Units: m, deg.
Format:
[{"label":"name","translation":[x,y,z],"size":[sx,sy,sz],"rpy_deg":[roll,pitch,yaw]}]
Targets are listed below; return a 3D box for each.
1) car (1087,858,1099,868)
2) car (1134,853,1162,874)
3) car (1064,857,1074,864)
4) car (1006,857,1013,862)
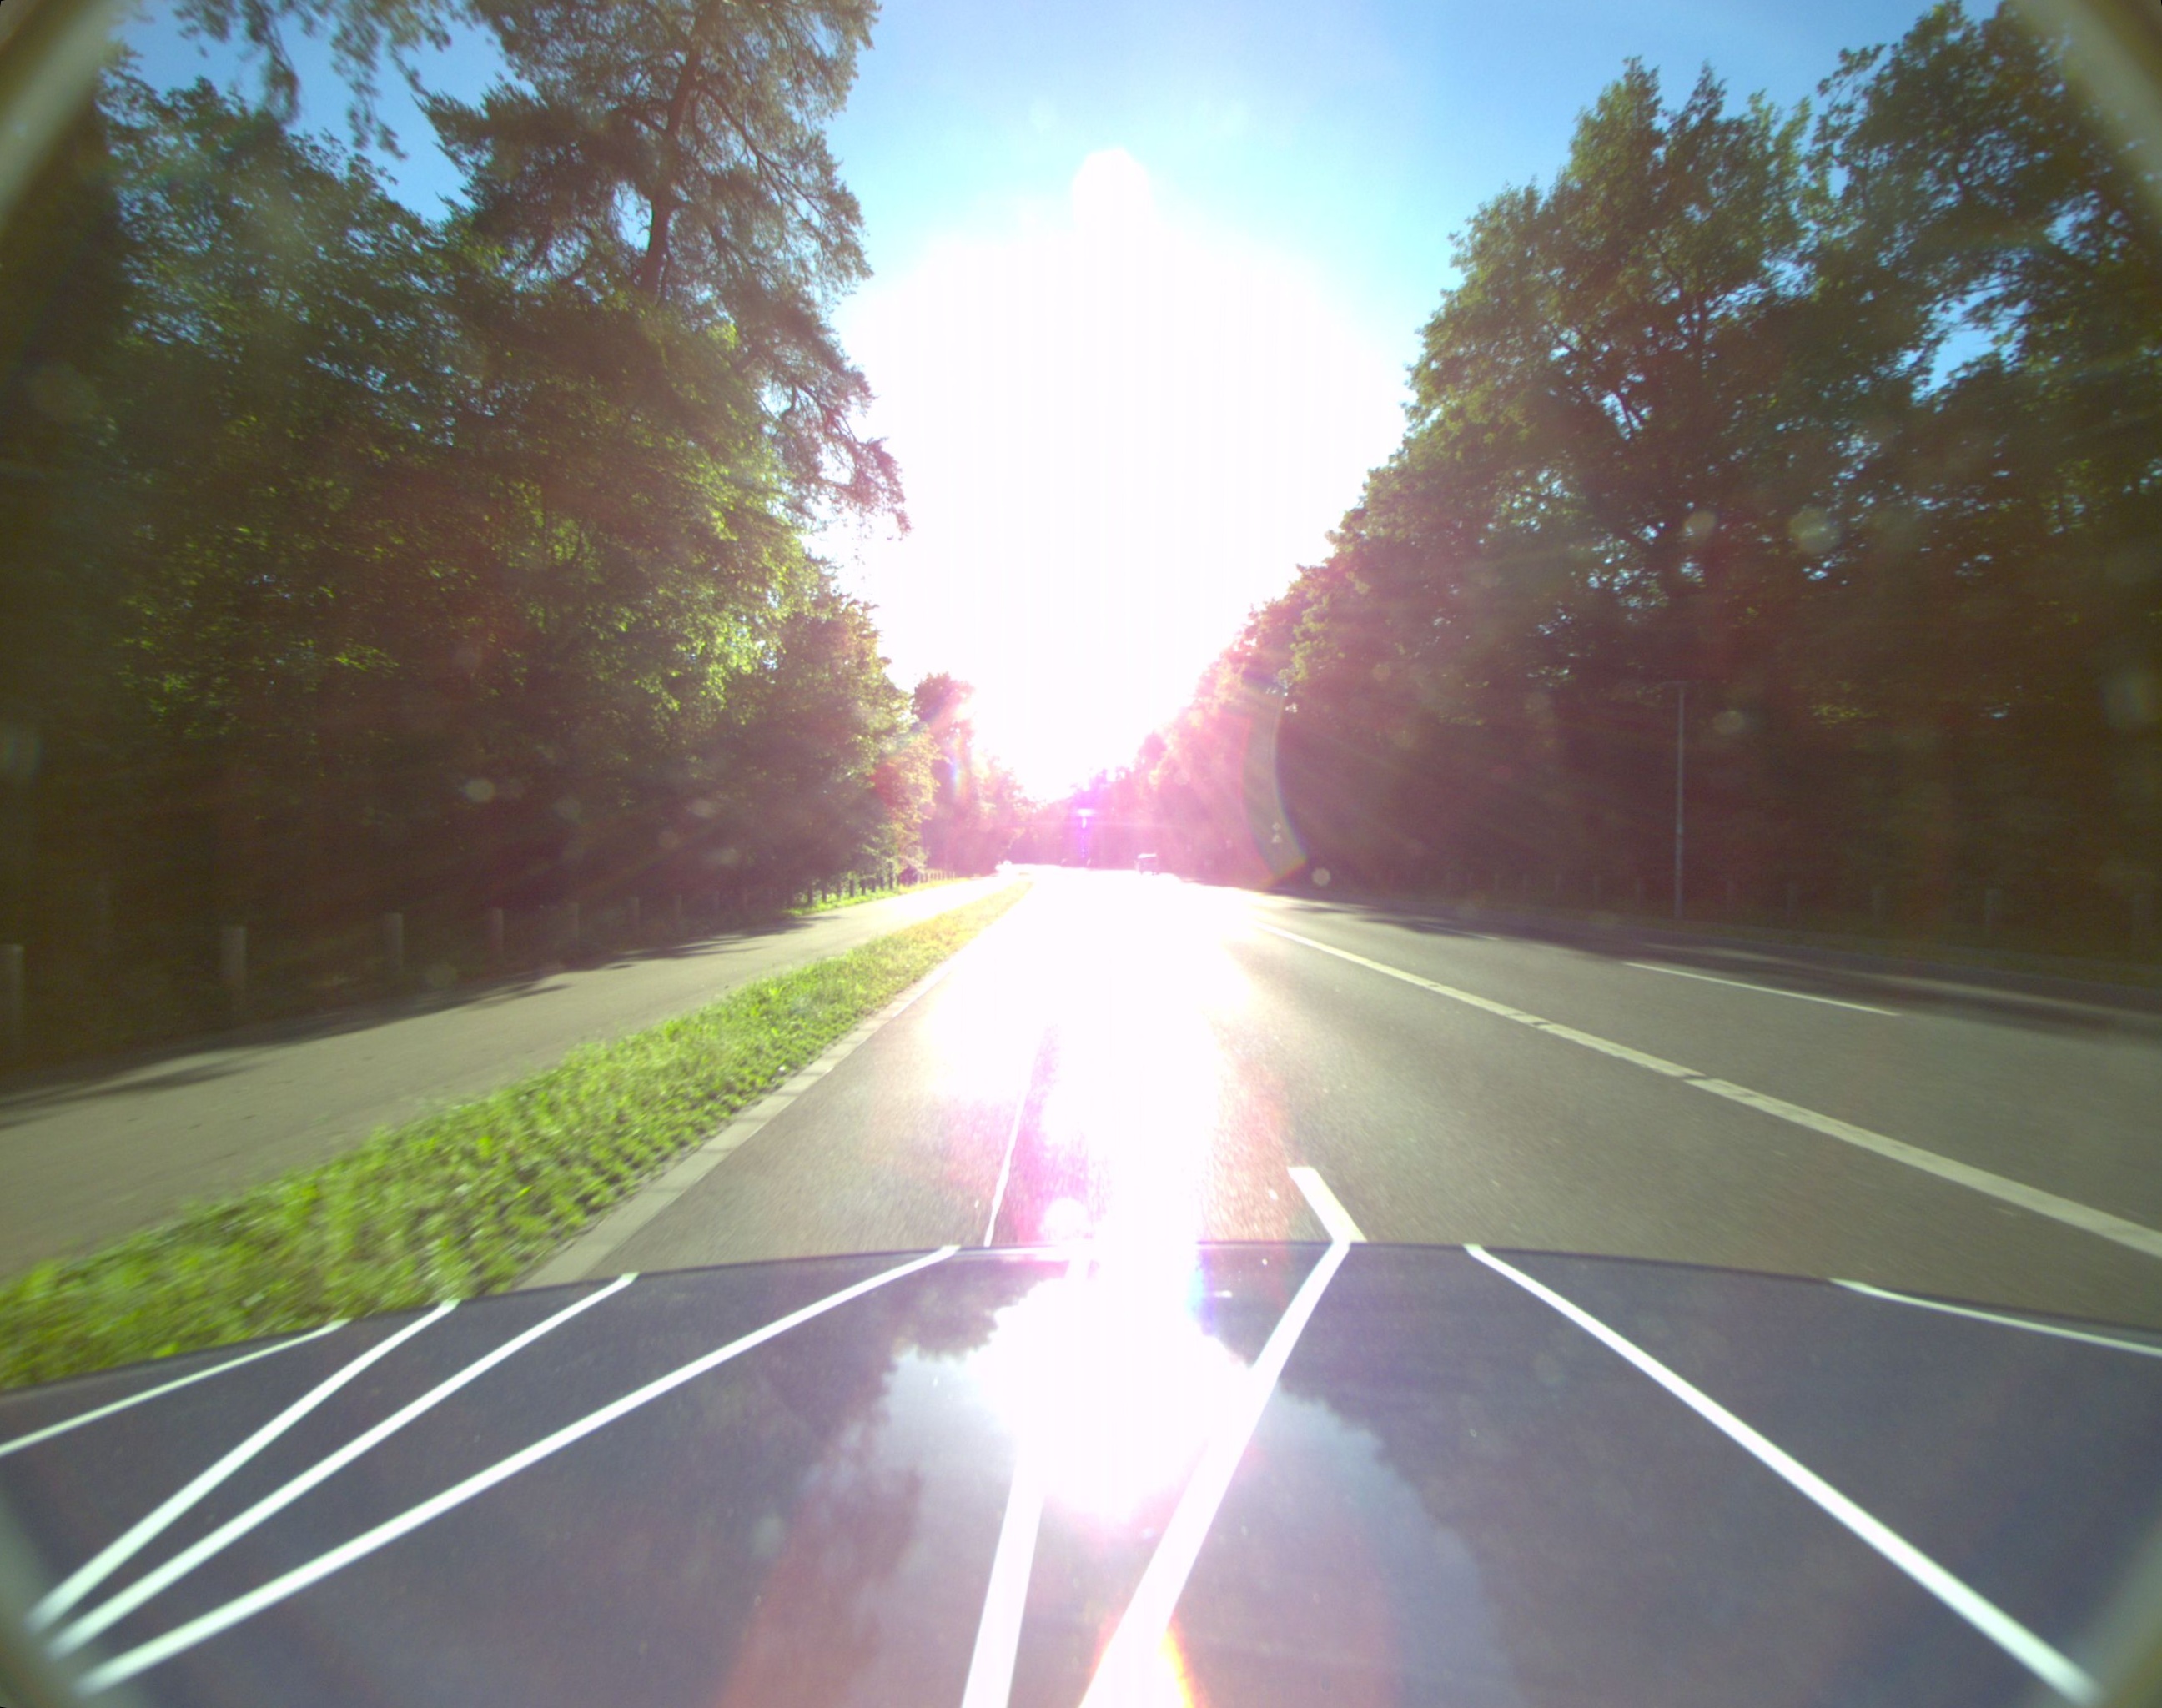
[{"label":"car","translation":[1.994,1.461,124.620],"size":[1.517,1.457,4.312],"rpy_deg":[-1,0,-5]},{"label":"car","translation":[6.294,0.869,71.986],"size":[2.006,1.815,4.999],"rpy_deg":[-2,0,-1]},{"label":"car","translation":[-2.642,1.373,168.023],"size":[1.847,1.539,3.997],"rpy_deg":[0,0,-8]},{"label":"car","translation":[-22.839,1.685,243.813],"size":[1.828,1.674,3.996],"rpy_deg":[0,0,-11]}]
